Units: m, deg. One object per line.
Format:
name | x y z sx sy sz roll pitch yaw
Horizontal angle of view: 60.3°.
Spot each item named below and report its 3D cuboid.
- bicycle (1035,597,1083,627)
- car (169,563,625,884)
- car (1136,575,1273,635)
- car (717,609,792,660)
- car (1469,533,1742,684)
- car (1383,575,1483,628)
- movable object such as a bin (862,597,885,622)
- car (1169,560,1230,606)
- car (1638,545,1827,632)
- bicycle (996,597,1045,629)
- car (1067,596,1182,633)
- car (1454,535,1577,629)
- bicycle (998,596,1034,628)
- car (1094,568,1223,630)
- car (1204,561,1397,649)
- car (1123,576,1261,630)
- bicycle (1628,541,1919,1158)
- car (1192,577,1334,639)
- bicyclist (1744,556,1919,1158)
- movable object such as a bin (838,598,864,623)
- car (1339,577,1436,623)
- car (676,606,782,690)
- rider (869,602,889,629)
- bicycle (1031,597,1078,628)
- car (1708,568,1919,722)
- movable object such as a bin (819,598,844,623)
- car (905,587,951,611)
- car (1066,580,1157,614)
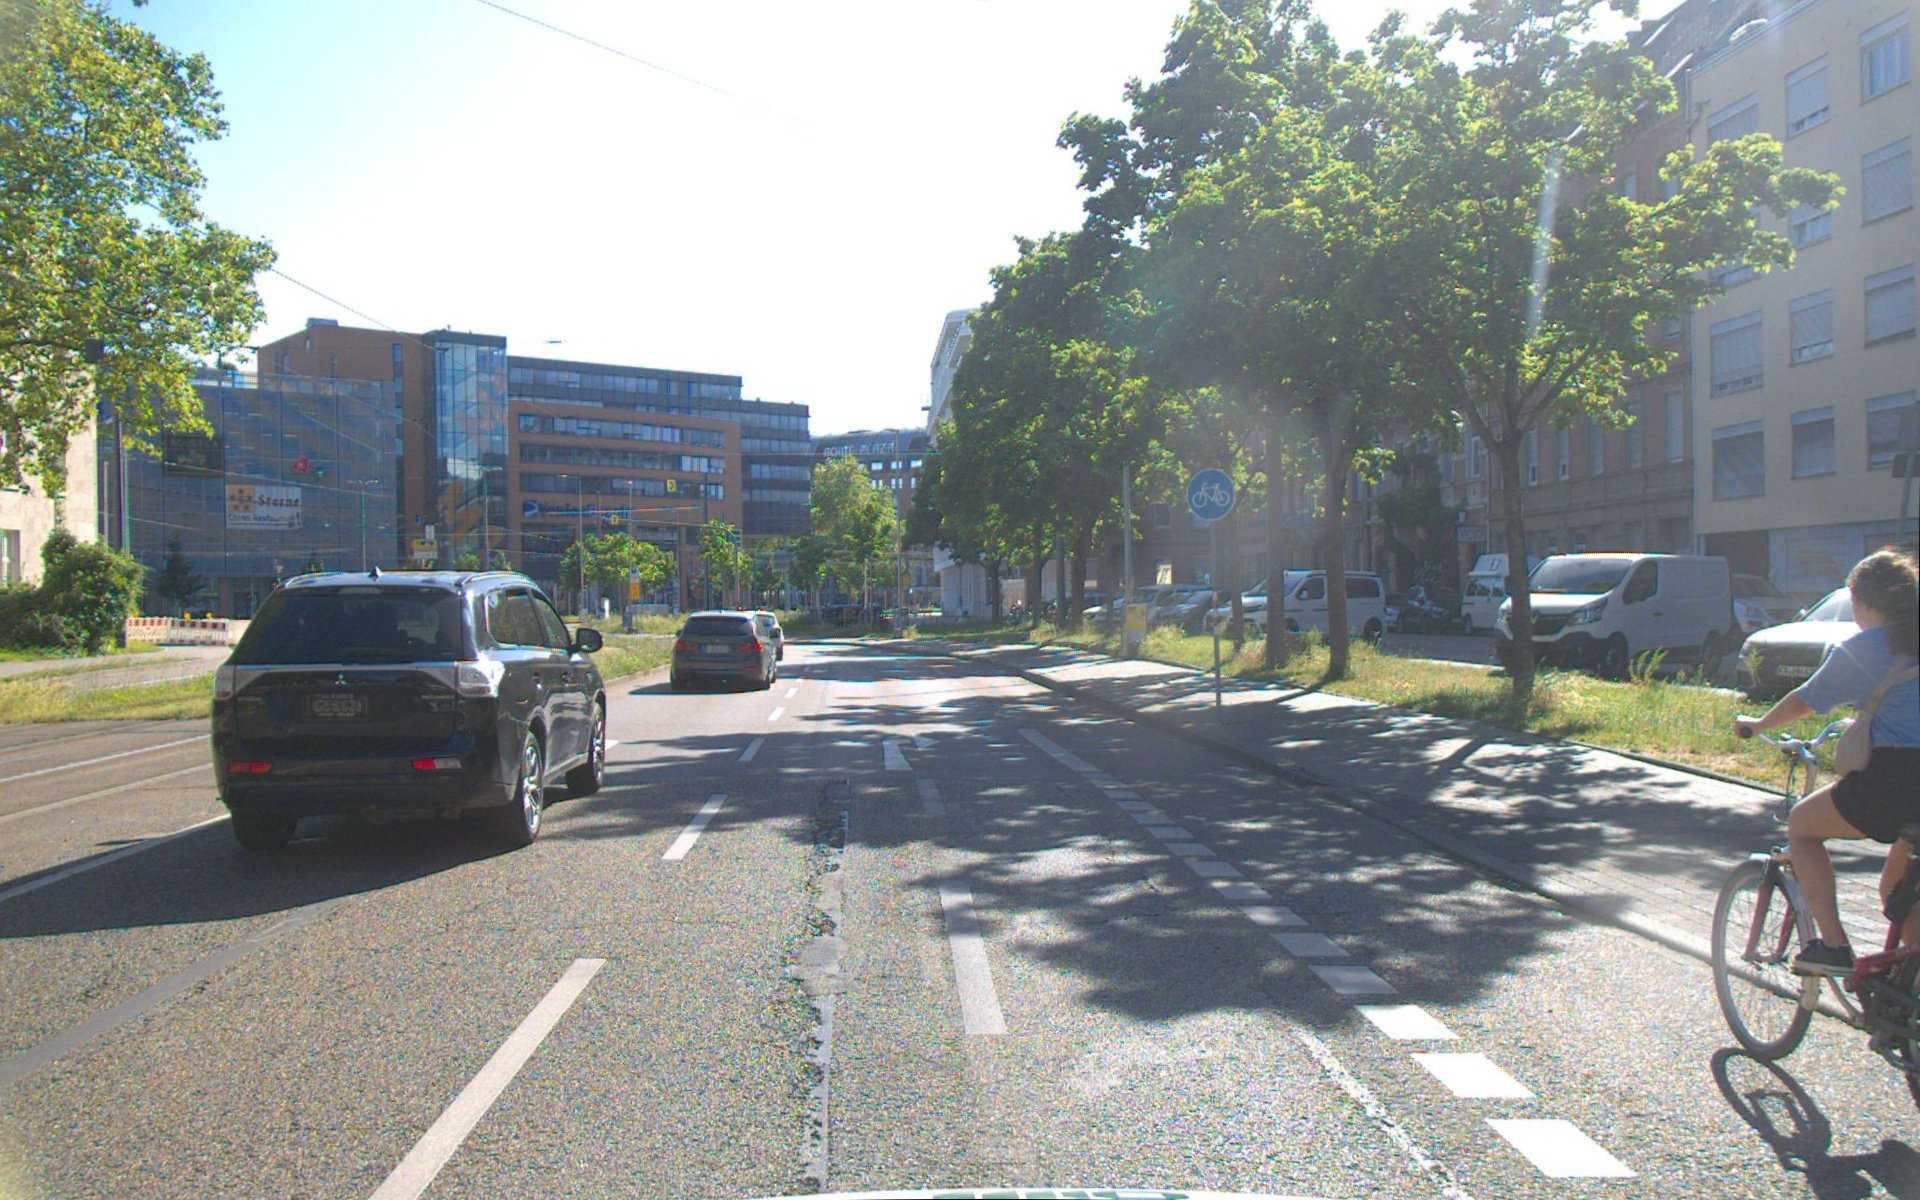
bicycle | 4.312 0.535 72.053 1.907 1.201 0.899 -3 0 -5
car | -3.519 0.676 11.301 1.800 1.711 4.639 -1 0 -4
car | 8.443 0.150 57.007 4.460 1.757 1.976 -4 0 -34
car | -6.128 1.039 49.075 1.606 1.448 3.764 1 -2 -17
car | 10.588 0.082 26.955 4.834 2.111 1.992 -4 1 -39
car | 16.329 0.035 57.321 1.954 1.721 4.510 -1 0 -3
movable object such as a bin | -5.095 0.552 97.381 1.007 1.423 1.091 -1 0 16
car | 13.451 -0.994 93.047 2.303 2.398 5.184 -3 1 -3
car | 18.008 -0.295 38.830 1.955 1.831 4.622 -3 1 -5
bicycle | 2.729 0.574 74.606 2.055 1.388 0.785 -1 0 -10
car | 6.888 0.597 69.140 4.704 1.404 2.018 -2 1 -38
car | 16.924 -0.574 50.624 1.954 2.630 4.511 -3 1 -3
bicycle | 2.437 0.502 72.121 0.754 1.312 1.592 -2 1 35
car | 7.614 -0.038 63.208 4.833 2.047 2.072 -4 1 -39
car | 9.252 0.114 44.815 5.126 2.047 2.076 -4 0 -34
car | 8.538 0.100 60.765 4.823 1.676 2.076 -4 1 -34
bicycle | 2.780 0.670 5.203 0.429 1.667 1.937 1 0 -4
car | 8.711 0.226 47.453 3.990 1.504 1.788 -4 1 -38
bicyclist | 2.800 0.706 4.990 0.429 1.667 0.778 -2 0 -3
movable object such as a bin | -6.429 0.596 97.442 1.084 1.423 1.322 -1 0 16
car | 16.139 -0.035 62.651 1.956 1.555 4.505 -3 1 -8
car | -4.273 0.899 31.107 1.700 1.448 4.462 1 -2 -5
rider | -3.828 0.715 78.263 0.491 1.196 1.678 -1 1 13
bicycle | 4.183 0.547 72.972 1.919 1.212 0.841 -3 0 -5
car | 11.144 0.438 19.720 4.830 1.459 1.994 -4 1 -38
movable object such as a bin | -7.558 0.619 97.430 1.046 1.423 1.305 -1 0 16
car | -2.957 -0.100 154.038 3.902 2.049 2.002 -1 0 11
car | 7.625 -0.176 83.216 4.421 1.593 1.913 -2 1 -36
